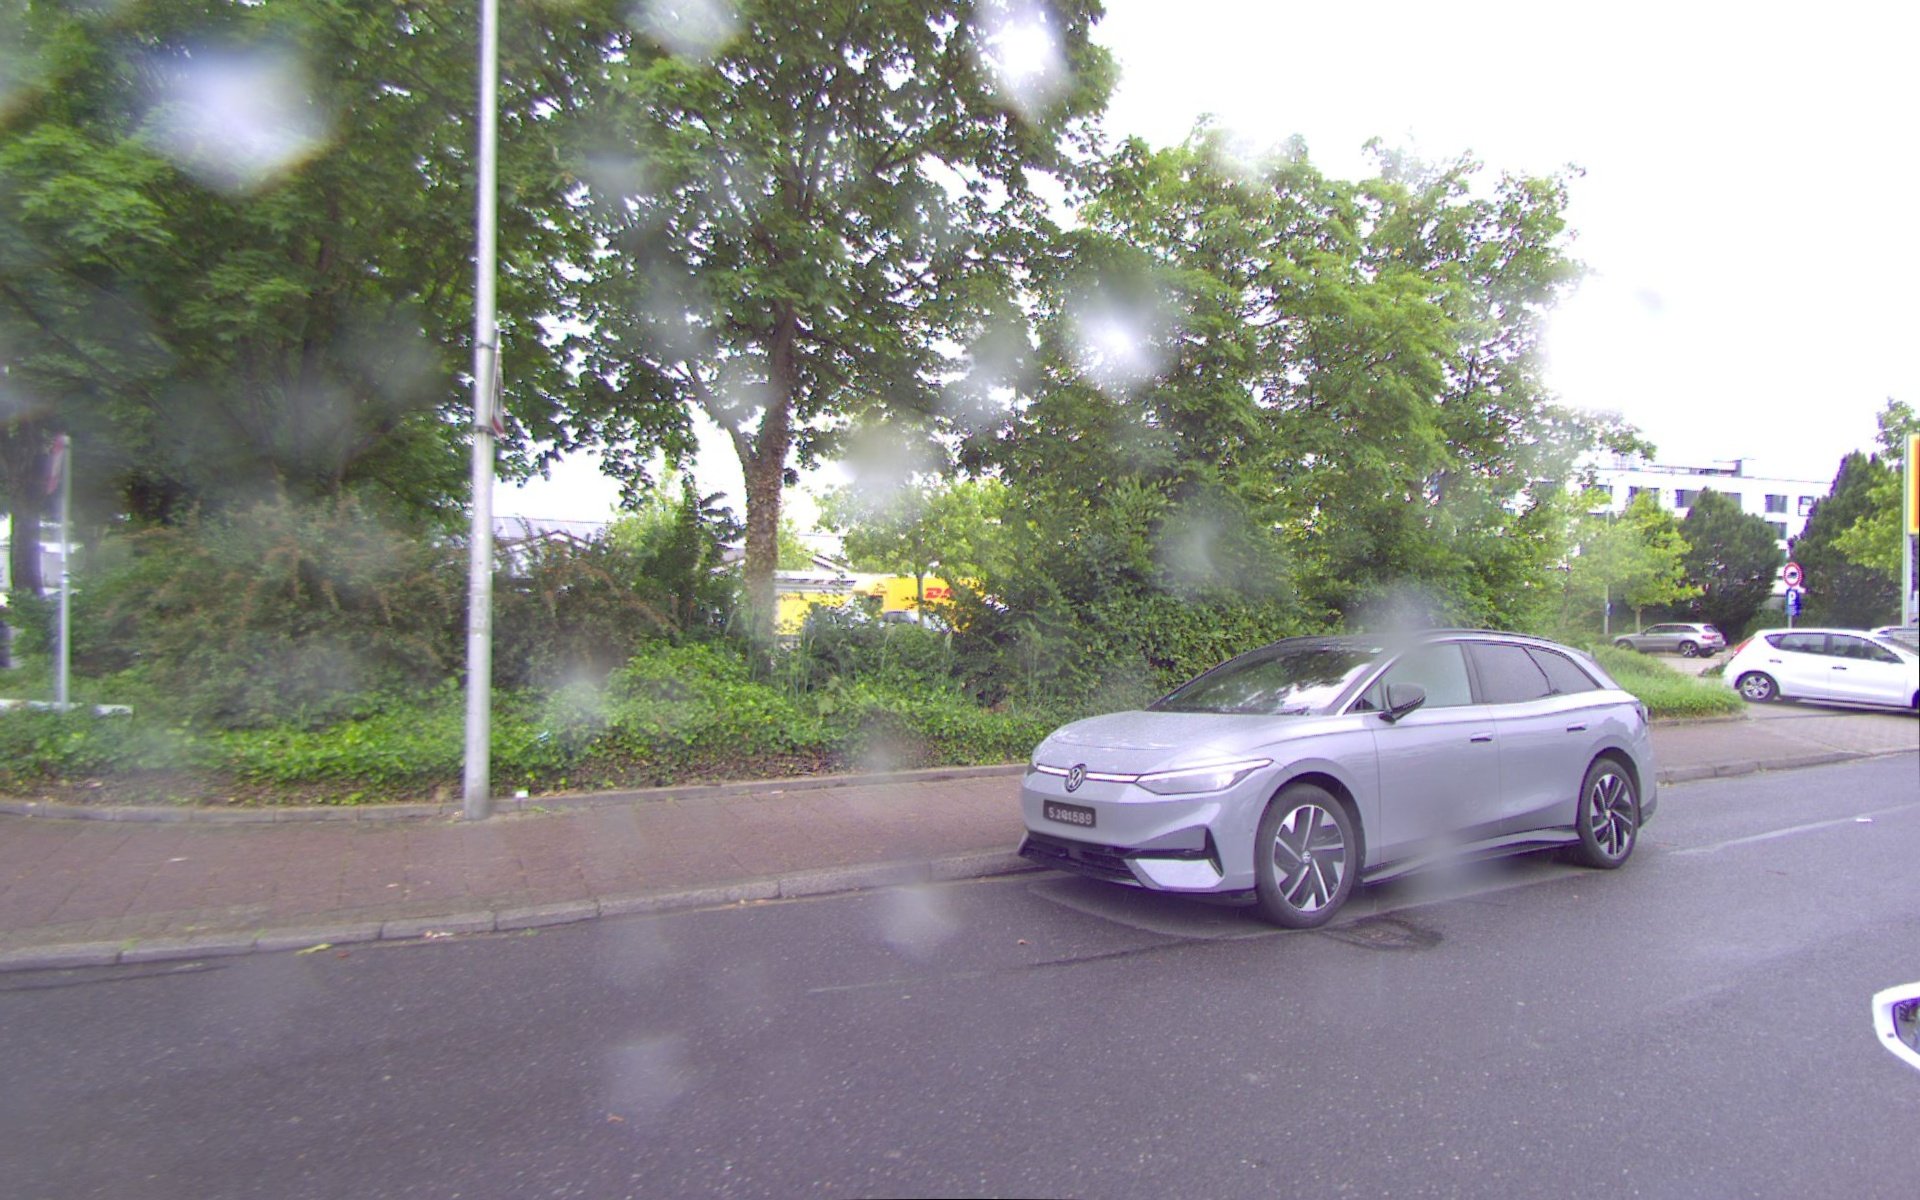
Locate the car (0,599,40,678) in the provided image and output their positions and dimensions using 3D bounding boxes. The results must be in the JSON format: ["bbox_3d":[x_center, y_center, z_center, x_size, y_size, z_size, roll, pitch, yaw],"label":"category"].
[{"bbox_3d":[-18.680,0.706,18.493,1.716,1.460,3.968,1,-1,-30],"label":"car"}]

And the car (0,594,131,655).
[{"bbox_3d":[-22.954,0.630,25.932,1.716,1.460,3.968,1,-1,-30],"label":"car"}]

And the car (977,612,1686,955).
[{"bbox_3d":[2.568,0.952,6.576,4.694,1.548,1.800,2,-5,-31],"label":"car"}]

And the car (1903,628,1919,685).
[{"bbox_3d":[26.787,1.560,25.659,1.691,1.479,3.555,1,1,-28],"label":"car"}]

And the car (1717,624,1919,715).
[{"bbox_3d":[16.825,1.254,18.590,1.693,1.479,4.167,1,0,-32],"label":"car"}]

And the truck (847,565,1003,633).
[{"bbox_3d":[-1.421,0.024,42.118,6.317,2.636,1.985,1,-1,-29],"label":"truck"}]

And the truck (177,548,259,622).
[{"bbox_3d":[-37.661,-0.674,51.164,2.573,3.515,6.759,1,-1,-30],"label":"truck"}]

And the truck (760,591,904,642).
[{"bbox_3d":[-5.601,0.763,44.358,6.067,2.122,1.982,1,-1,-33],"label":"truck"}]

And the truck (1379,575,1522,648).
[{"bbox_3d":[19.513,0.495,39.839,6.323,2.692,1.983,1,-1,-31],"label":"truck"}]

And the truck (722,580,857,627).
[{"bbox_3d":[-8.133,0.207,48.211,6.067,2.087,1.982,1,-1,-33],"label":"truck"}]

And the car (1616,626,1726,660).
[{"bbox_3d":[34.675,2.061,49.086,1.975,1.519,3.972,1,-1,-27],"label":"car"}]

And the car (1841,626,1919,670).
[{"bbox_3d":[35.870,1.802,37.586,1.887,1.561,3.970,1,-1,-28],"label":"car"}]
